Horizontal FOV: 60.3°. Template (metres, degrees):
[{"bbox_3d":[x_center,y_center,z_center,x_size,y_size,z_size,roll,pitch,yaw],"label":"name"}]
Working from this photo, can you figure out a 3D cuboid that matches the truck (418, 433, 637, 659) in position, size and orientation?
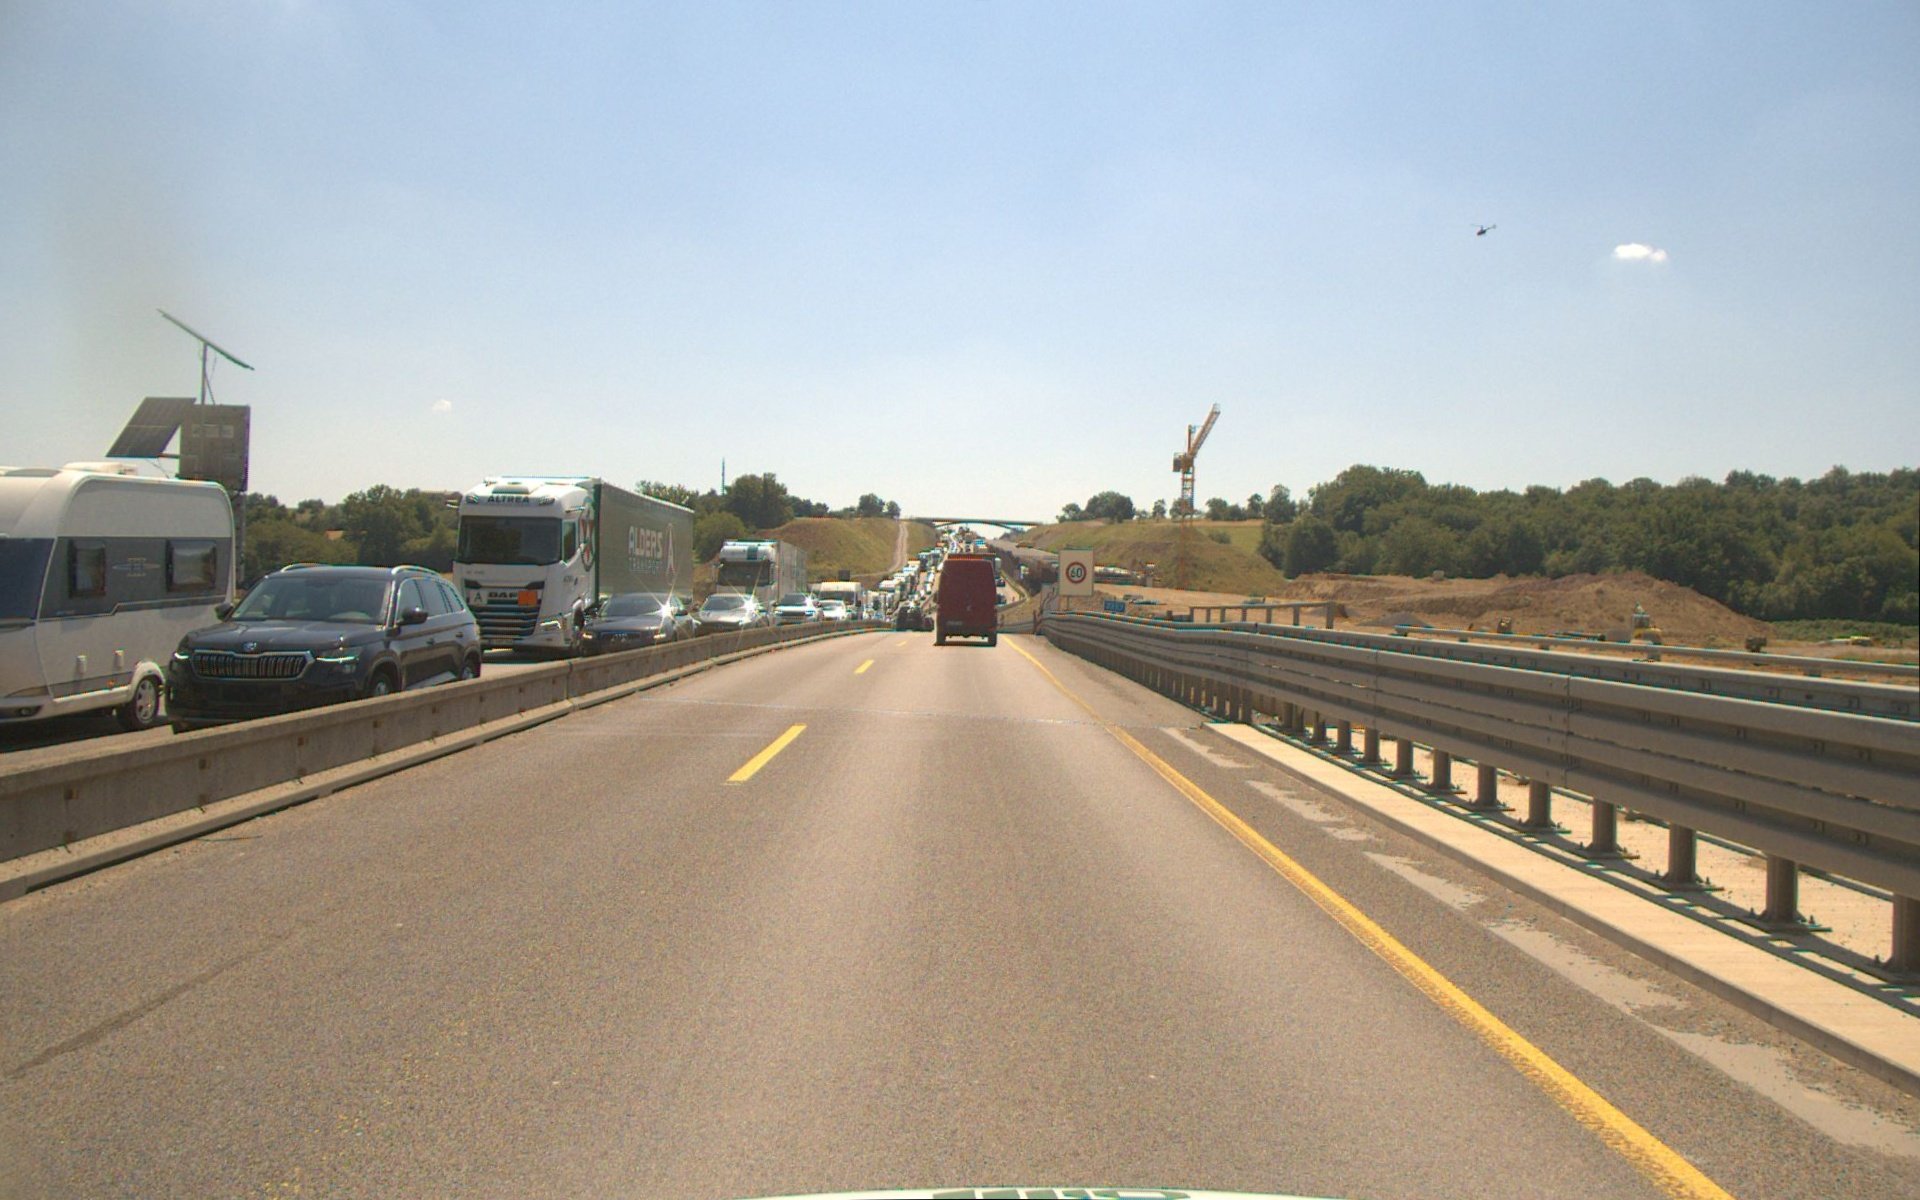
[{"bbox_3d":[-9.598,-1.118,37.625,3.014,4.616,7.103,1,0,0],"label":"truck"}]

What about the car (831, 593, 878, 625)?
[{"bbox_3d":[-6.191,0.505,97.804,2.323,1.756,5.781,3,0,0],"label":"car"}]

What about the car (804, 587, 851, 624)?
[{"bbox_3d":[-5.944,0.238,74.325,1.954,1.524,4.970,2,0,-4],"label":"car"}]

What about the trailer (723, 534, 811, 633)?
[{"bbox_3d":[-9.407,-0.665,82.069,2.757,4.508,13.167,0,-1,0],"label":"trailer"}]

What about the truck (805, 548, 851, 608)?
[{"bbox_3d":[-9.787,-1.608,123.939,2.746,4.224,10.076,2,0,-2],"label":"truck"}]

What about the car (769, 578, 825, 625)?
[{"bbox_3d":[-6.288,0.052,64.128,1.721,1.675,4.155,2,0,-1],"label":"car"}]

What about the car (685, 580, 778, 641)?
[{"bbox_3d":[-6.157,0.265,45.127,1.827,1.484,4.607,2,0,0],"label":"car"}]

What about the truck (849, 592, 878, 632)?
[{"bbox_3d":[-10.781,1.348,184.671,2.919,4.258,5.867,1,-1,-5],"label":"truck"}]

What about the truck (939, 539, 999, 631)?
[{"bbox_3d":[0.426,-0.799,90.452,2.960,4.775,6.929,-1,0,-2],"label":"truck"}]

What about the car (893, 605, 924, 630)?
[{"bbox_3d":[-3.324,1.103,106.430,1.971,1.572,4.131,1,0,-2],"label":"car"}]

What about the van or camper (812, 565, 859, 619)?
[{"bbox_3d":[-6.343,-0.410,84.738,2.175,2.555,6.528,2,0,-4],"label":"van or camper"}]

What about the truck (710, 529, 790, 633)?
[{"bbox_3d":[-9.418,-0.819,74.652,2.749,4.469,6.225,1,0,0],"label":"truck"}]

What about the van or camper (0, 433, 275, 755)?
[{"bbox_3d":[-9.274,-0.078,16.720,2.452,2.746,5.243,1,0,0],"label":"van or camper"}]

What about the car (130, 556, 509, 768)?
[{"bbox_3d":[-6.036,0.516,16.266,1.809,1.717,4.619,2,0,1],"label":"car"}]

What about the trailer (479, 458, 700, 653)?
[{"bbox_3d":[-9.640,-1.062,44.942,3.038,4.543,13.019,0,0,0],"label":"trailer"}]

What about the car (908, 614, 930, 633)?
[{"bbox_3d":[-3.784,2.199,154.128,1.971,1.572,4.131,2,0,-1],"label":"car"}]

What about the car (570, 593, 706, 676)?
[{"bbox_3d":[-6.258,0.630,32.646,1.741,1.445,4.538,2,0,0],"label":"car"}]

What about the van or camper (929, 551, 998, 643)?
[{"bbox_3d":[0.075,-0.088,53.195,1.988,2.792,4.513,1,0,-2],"label":"van or camper"}]
